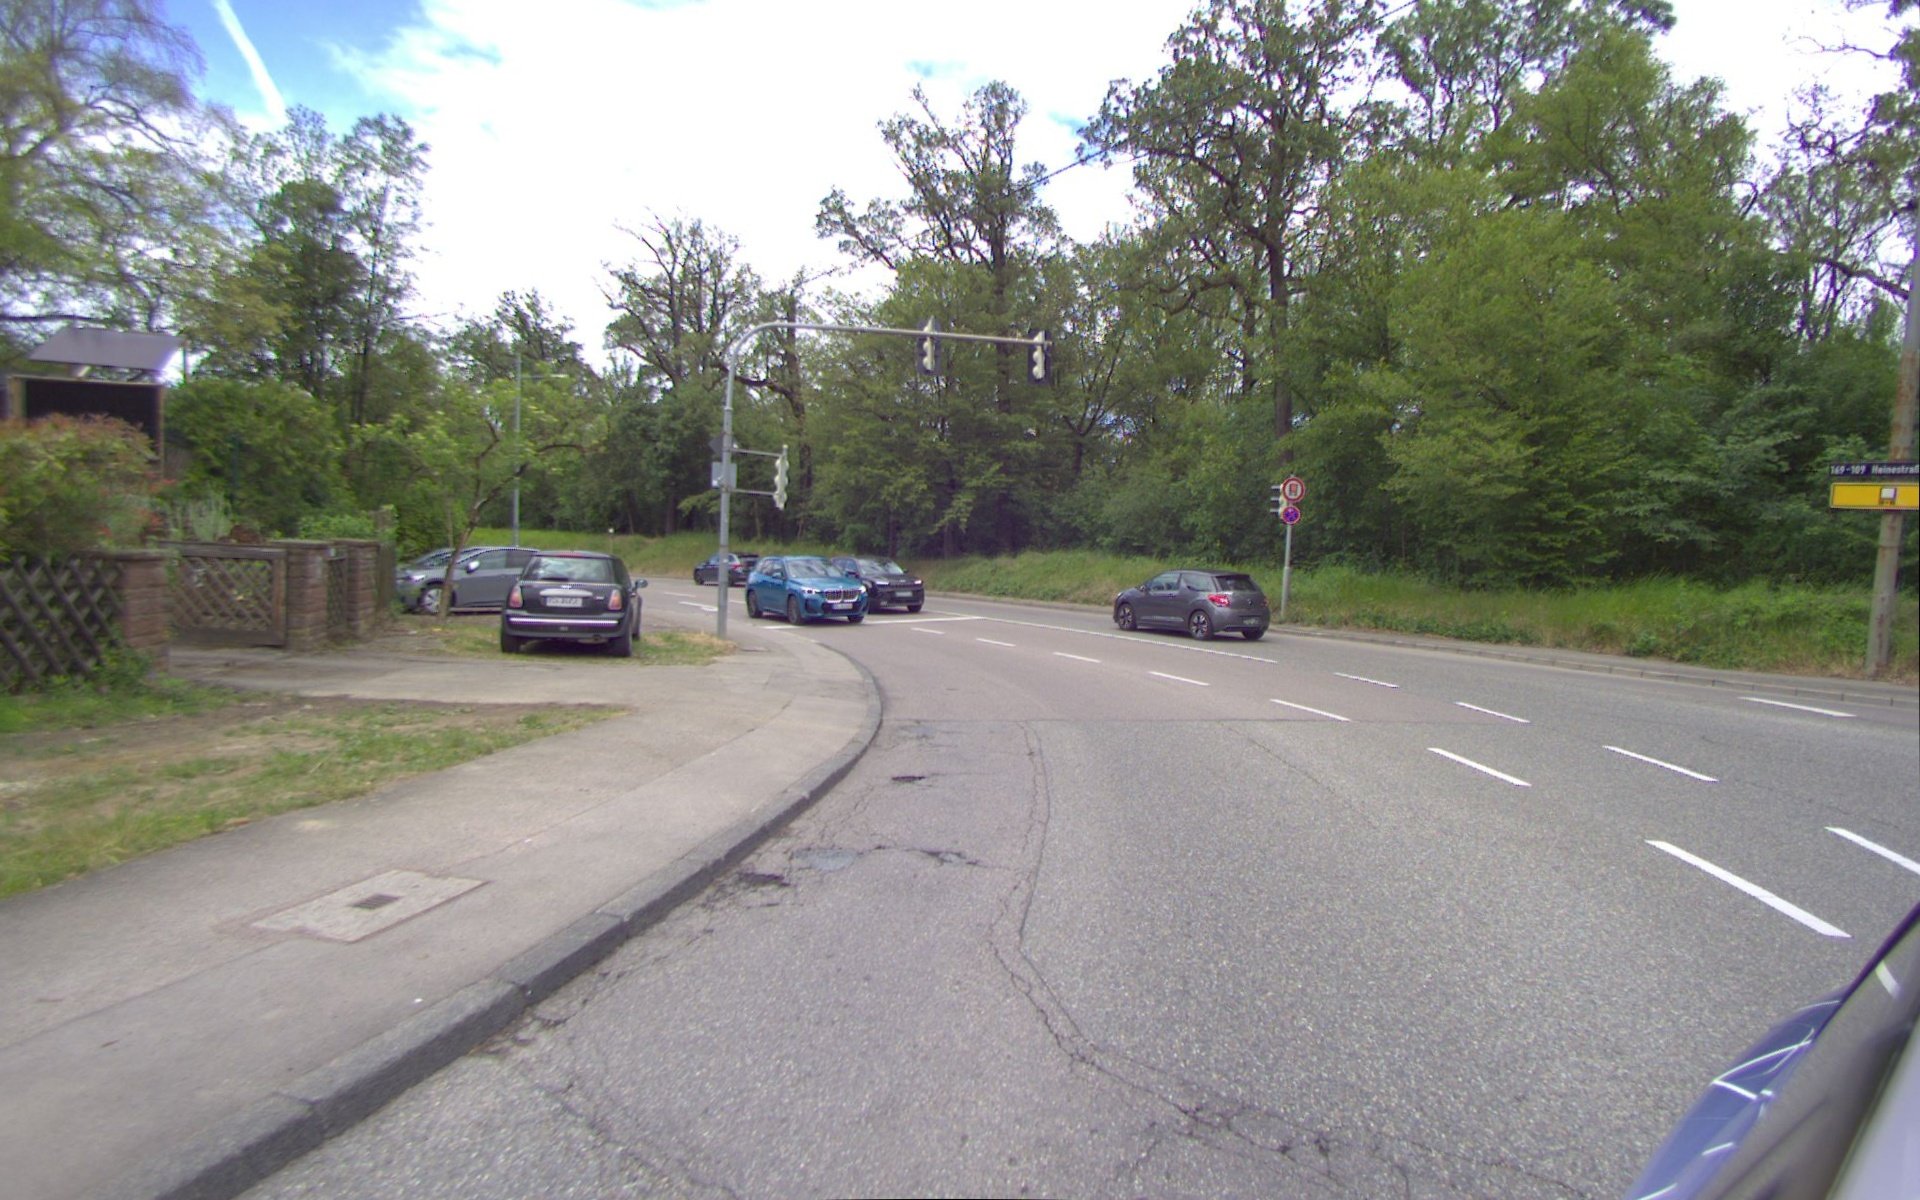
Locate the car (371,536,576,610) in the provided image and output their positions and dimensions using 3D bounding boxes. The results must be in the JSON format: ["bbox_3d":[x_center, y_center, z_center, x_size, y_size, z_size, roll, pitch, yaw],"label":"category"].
[{"bbox_3d":[-11.043,-0.591,23.182,1.654,1.544,3.943,0,1,40],"label":"car"}]

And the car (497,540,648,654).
[{"bbox_3d":[-5.530,-0.121,14.825,1.621,1.407,3.614,3,2,-15],"label":"car"}]

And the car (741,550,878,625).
[{"bbox_3d":[-3.810,-0.394,25.136,1.879,1.595,4.004,-3,5,-33],"label":"car"}]

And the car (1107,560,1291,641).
[{"bbox_3d":[5.125,-0.077,22.185,1.787,1.528,3.813,-1,4,-30],"label":"car"}]

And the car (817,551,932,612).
[{"bbox_3d":[-2.513,-0.586,28.775,1.704,1.525,4.006,-2,4,-30],"label":"car"}]

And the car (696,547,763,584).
[{"bbox_3d":[-9.988,-1.497,43.589,1.671,1.463,4.006,-1,3,-30],"label":"car"}]
